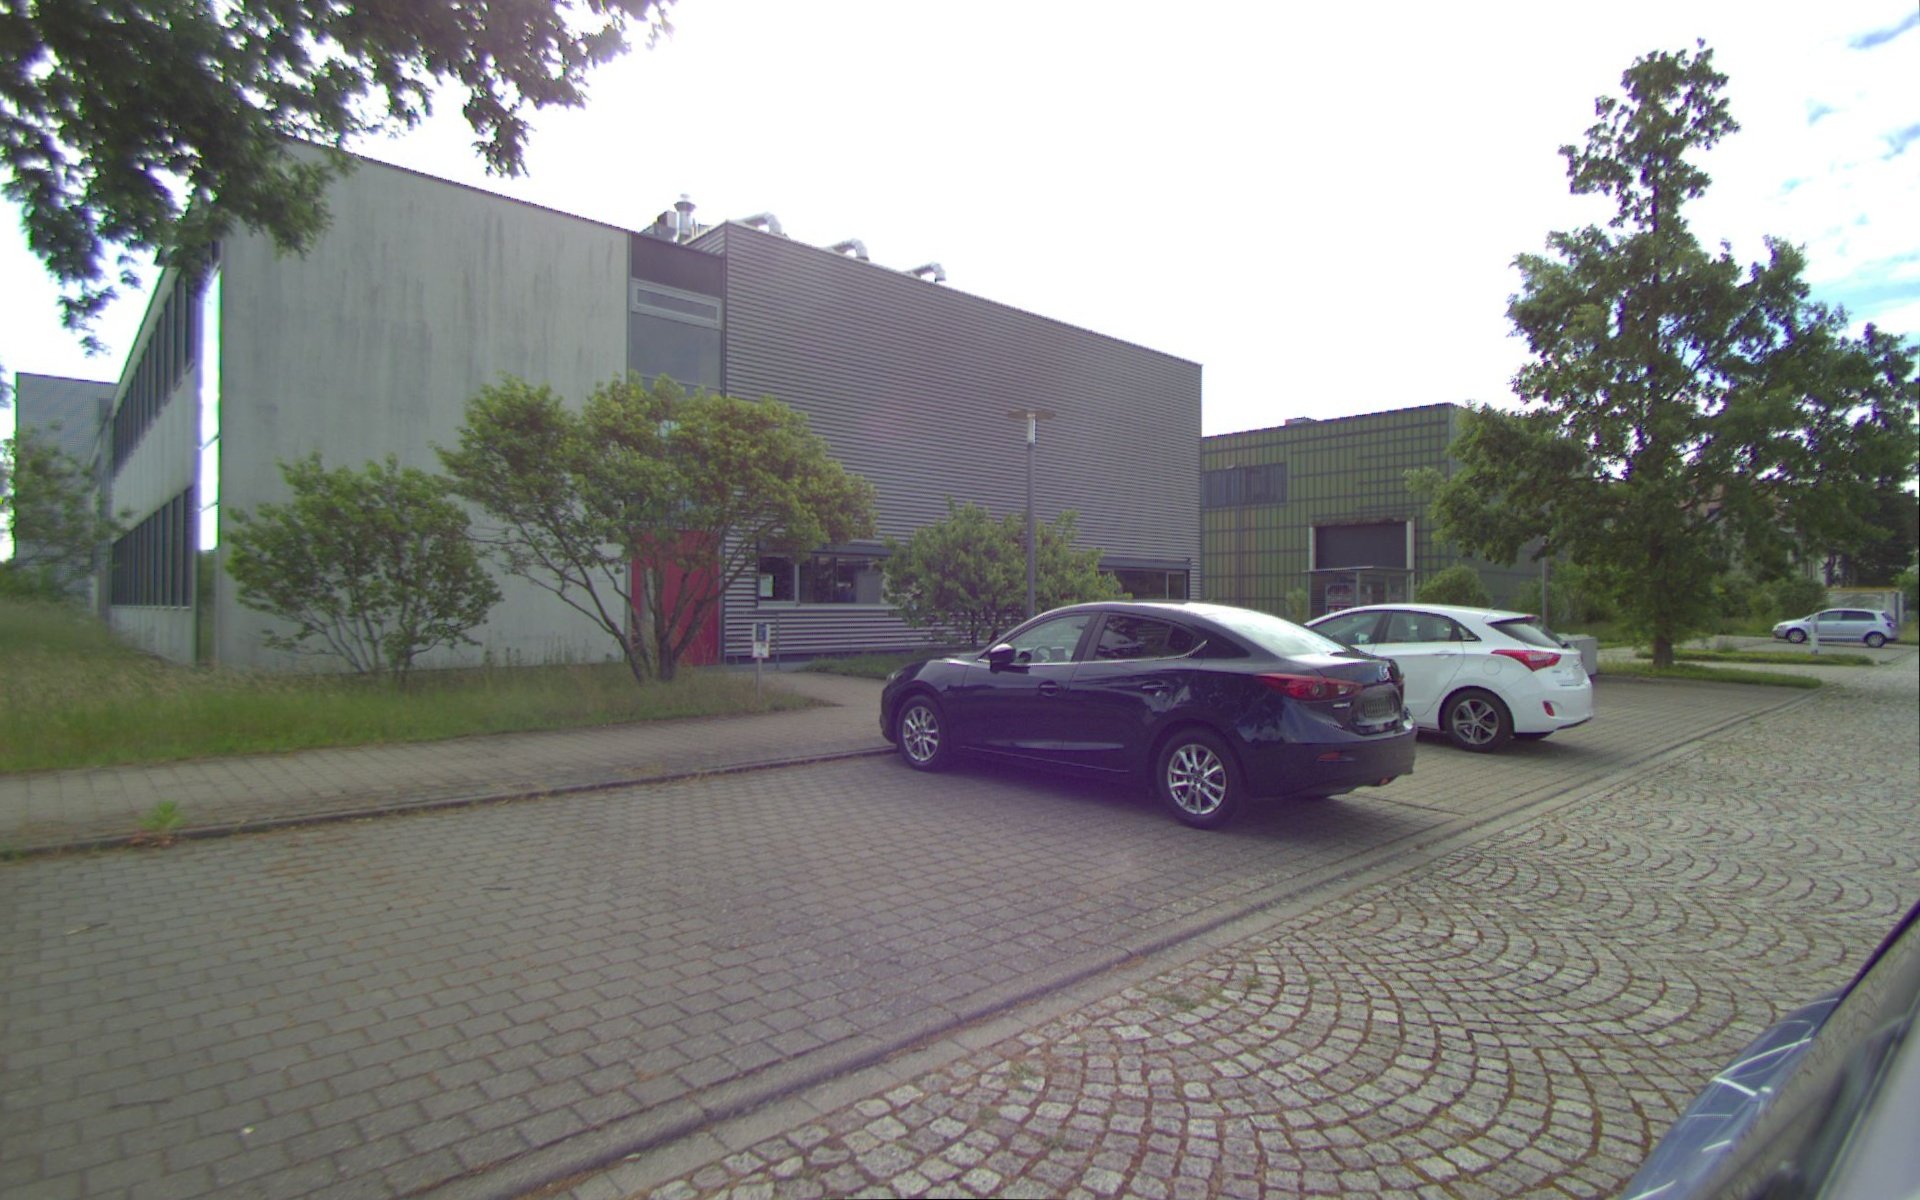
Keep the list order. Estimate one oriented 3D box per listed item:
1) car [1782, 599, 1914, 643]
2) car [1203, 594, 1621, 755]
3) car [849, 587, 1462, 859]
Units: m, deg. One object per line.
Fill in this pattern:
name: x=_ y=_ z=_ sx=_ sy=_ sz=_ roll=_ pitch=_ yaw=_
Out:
car: x=37.747 y=0.853 z=43.093 sx=4.123 sy=1.645 sz=1.908 roll=2 pitch=2 yaw=45
car: x=4.996 y=0.694 z=11.565 sx=1.851 sy=1.485 sz=3.980 roll=1 pitch=0 yaw=-43
car: x=1.243 y=0.673 z=7.959 sx=1.912 sy=1.465 sz=4.468 roll=1 pitch=1 yaw=-43
